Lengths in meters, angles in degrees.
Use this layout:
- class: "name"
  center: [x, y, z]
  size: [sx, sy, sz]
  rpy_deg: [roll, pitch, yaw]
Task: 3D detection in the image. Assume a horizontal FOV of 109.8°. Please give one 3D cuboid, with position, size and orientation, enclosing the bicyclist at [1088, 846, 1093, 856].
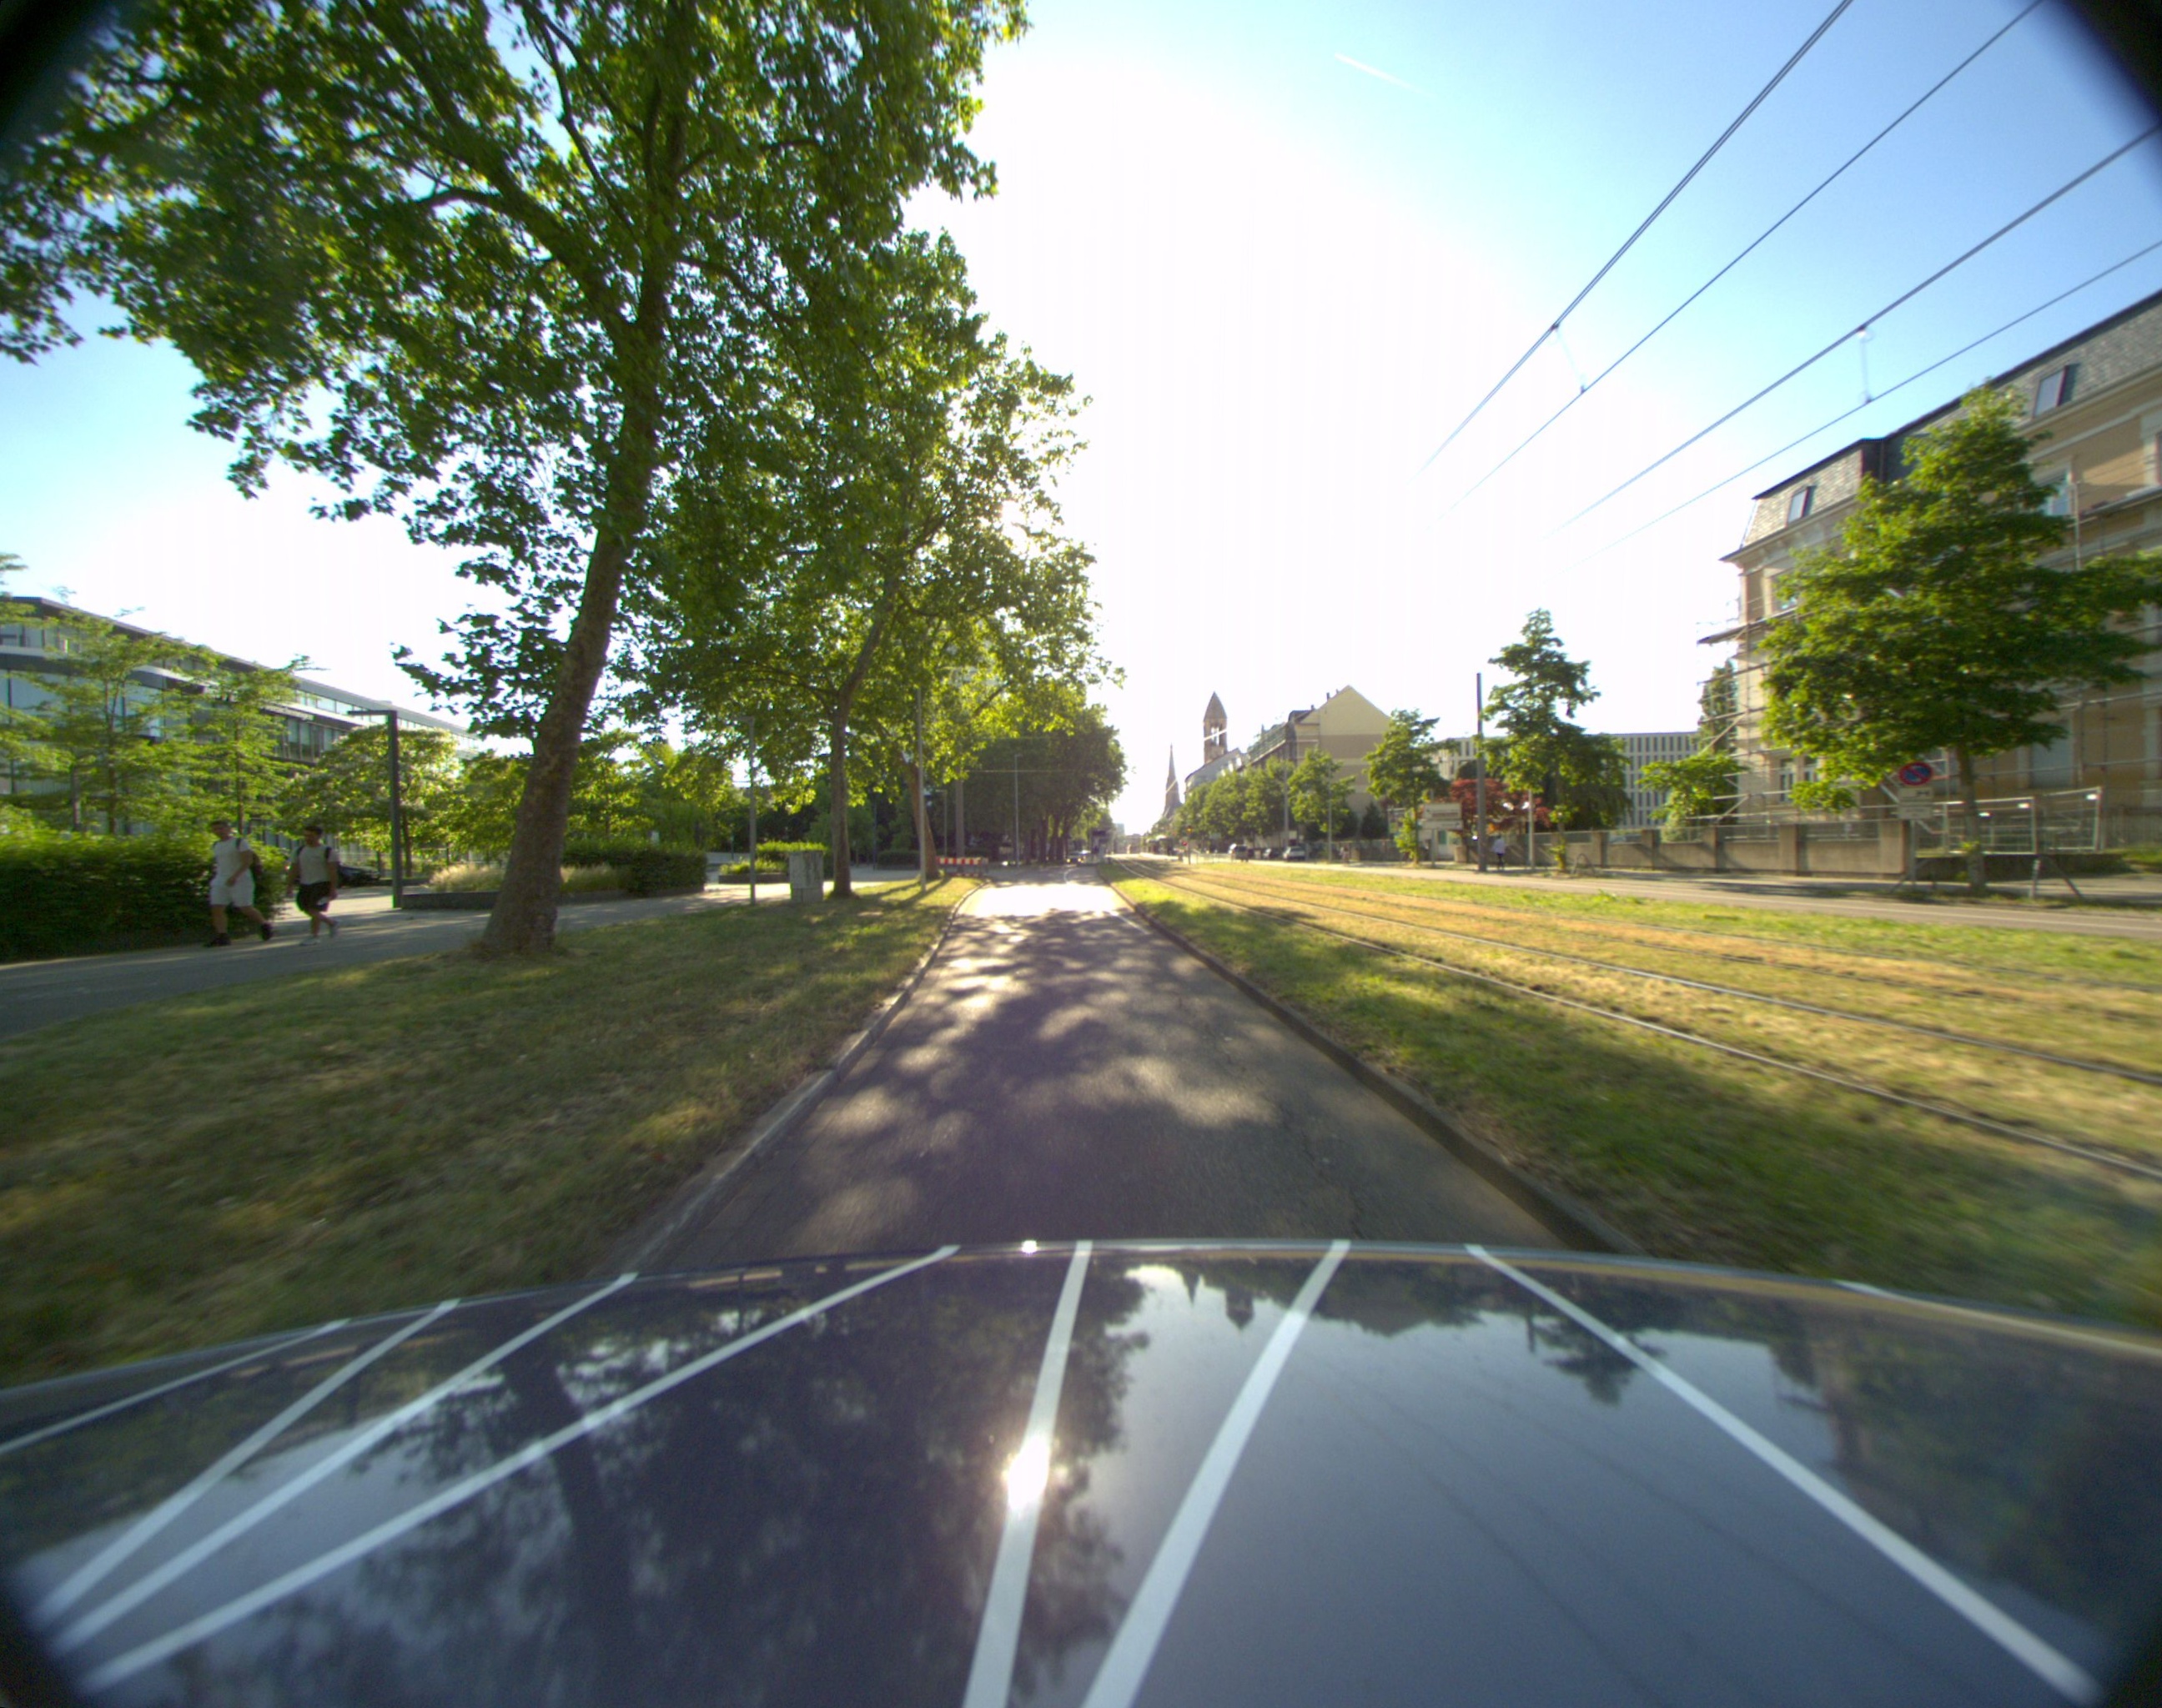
- class: "bicyclist"
  center: [1.424, -0.444, 113.201]
  size: [0.604, 1.542, 0.860]
  rpy_deg: [-1, 1, 1]

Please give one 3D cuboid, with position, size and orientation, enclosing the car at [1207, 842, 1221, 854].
- class: "car"
  center: [24.732, -1.151, 141.087]
  size: [1.945, 2.154, 3.785]
  rpy_deg: [-3, 1, 2]

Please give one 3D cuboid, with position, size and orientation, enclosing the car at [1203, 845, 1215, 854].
- class: "car"
  center: [25.071, -0.931, 148.738]
  size: [1.810, 1.626, 3.785]
  rpy_deg: [-3, 1, 2]

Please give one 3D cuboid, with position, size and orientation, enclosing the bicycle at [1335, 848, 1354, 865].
- class: "bicycle"
  center: [19.587, 0.168, 56.569]
  size: [0.776, 1.187, 1.755]
  rpy_deg: [-3, 1, 2]

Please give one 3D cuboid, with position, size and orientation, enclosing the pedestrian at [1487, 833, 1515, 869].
- class: "pedestrian"
  center: [22.333, -0.152, 40.443]
  size: [0.860, 1.917, 1.086]
  rpy_deg: [0, 1, 1]

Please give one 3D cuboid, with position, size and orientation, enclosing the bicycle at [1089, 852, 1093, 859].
- class: "bicycle"
  center: [1.449, 0.234, 113.264]
  size: [0.604, 1.020, 1.766]
  rpy_deg: [-1, 1, 1]

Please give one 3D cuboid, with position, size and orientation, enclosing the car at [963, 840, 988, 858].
- class: "car"
  center: [-14.967, -0.734, 108.123]
  size: [1.998, 2.485, 6.347]
  rpy_deg: [-3, 1, 4]

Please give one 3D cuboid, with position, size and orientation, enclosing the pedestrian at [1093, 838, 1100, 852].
- class: "pedestrian"
  center: [1.879, -1.061, 94.174]
  size: [0.758, 1.680, 0.678]
  rpy_deg: [-3, 1, 2]

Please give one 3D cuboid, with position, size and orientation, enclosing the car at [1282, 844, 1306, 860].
- class: "car"
  center: [22.423, -0.251, 80.019]
  size: [1.725, 1.577, 4.066]
  rpy_deg: [-3, 1, 6]

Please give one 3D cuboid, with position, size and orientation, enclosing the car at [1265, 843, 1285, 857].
- class: "car"
  center: [23.225, -0.506, 90.998]
  size: [1.725, 1.577, 4.066]
  rpy_deg: [-3, 1, 6]

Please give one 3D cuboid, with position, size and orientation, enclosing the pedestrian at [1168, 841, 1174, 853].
- class: "pedestrian"
  center: [12.637, -0.960, 107.011]
  size: [0.681, 1.680, 0.654]
  rpy_deg: [-3, 1, 0]

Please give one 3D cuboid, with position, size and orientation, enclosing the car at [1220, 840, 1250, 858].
- class: "car"
  center: [16.946, -0.563, 83.872]
  size: [1.944, 1.908, 4.469]
  rpy_deg: [-3, 1, -7]

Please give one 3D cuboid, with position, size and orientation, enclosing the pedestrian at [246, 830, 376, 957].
- class: "pedestrian"
  center: [-11.300, 0.549, 11.196]
  size: [0.752, 1.783, 1.086]
  rpy_deg: [0, 1, 2]

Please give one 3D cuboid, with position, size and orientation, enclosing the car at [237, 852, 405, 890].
- class: "car"
  center: [-32.763, 0.719, 32.933]
  size: [4.689, 1.476, 2.069]
  rpy_deg: [-1, 0, -17]

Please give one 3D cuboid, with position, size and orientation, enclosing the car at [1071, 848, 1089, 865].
- class: "car"
  center: [-0.157, 0.311, 96.268]
  size: [1.944, 1.908, 4.470]
  rpy_deg: [-3, 1, -4]

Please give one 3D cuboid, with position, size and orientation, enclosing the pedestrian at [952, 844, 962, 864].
- class: "pedestrian"
  center: [-10.292, -0.014, 63.152]
  size: [0.651, 1.647, 0.783]
  rpy_deg: [0, 1, 2]

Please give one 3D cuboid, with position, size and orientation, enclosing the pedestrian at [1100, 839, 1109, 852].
- class: "pedestrian"
  center: [3.333, -1.221, 107.704]
  size: [0.912, 1.712, 0.630]
  rpy_deg: [-4, 1, -31]

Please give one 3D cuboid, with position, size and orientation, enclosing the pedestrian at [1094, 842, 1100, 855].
- class: "pedestrian"
  center: [2.166, -0.736, 101.521]
  size: [0.681, 1.680, 0.894]
  rpy_deg: [-3, 1, 2]

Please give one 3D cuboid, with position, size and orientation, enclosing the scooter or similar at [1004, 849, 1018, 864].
- class: "scooter or similar"
  center: [-5.965, 0.193, 65.037]
  size: [1.054, 1.237, 0.841]
  rpy_deg: [0, 1, 5]

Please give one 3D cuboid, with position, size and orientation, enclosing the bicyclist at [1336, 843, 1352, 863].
- class: "bicyclist"
  center: [19.571, -0.097, 56.597]
  size: [0.776, 1.472, 1.134]
  rpy_deg: [-3, 1, 2]

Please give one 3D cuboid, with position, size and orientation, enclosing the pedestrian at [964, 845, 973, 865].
- class: "pedestrian"
  center: [-9.343, 0.060, 63.052]
  size: [0.629, 1.647, 0.740]
  rpy_deg: [0, 1, 2]

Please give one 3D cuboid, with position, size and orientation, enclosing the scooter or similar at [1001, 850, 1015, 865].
- class: "scooter or similar"
  center: [-6.146, 0.275, 64.153]
  size: [1.054, 1.237, 0.841]
  rpy_deg: [0, 1, 5]

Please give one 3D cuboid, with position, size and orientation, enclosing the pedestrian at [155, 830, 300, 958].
- class: "pedestrian"
  center: [-12.426, 0.547, 11.111]
  size: [0.807, 1.783, 1.110]
  rpy_deg: [0, 1, 2]

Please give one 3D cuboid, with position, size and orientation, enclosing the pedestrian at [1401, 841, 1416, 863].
- class: "pedestrian"
  center: [24.664, -0.184, 57.190]
  size: [0.726, 1.638, 0.812]
  rpy_deg: [0, 1, -4]

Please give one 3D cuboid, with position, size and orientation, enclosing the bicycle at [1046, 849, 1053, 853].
- class: "bicycle"
  center: [-8.648, -0.711, 208.783]
  size: [1.827, 1.047, 0.534]
  rpy_deg: [-3, 1, -24]
